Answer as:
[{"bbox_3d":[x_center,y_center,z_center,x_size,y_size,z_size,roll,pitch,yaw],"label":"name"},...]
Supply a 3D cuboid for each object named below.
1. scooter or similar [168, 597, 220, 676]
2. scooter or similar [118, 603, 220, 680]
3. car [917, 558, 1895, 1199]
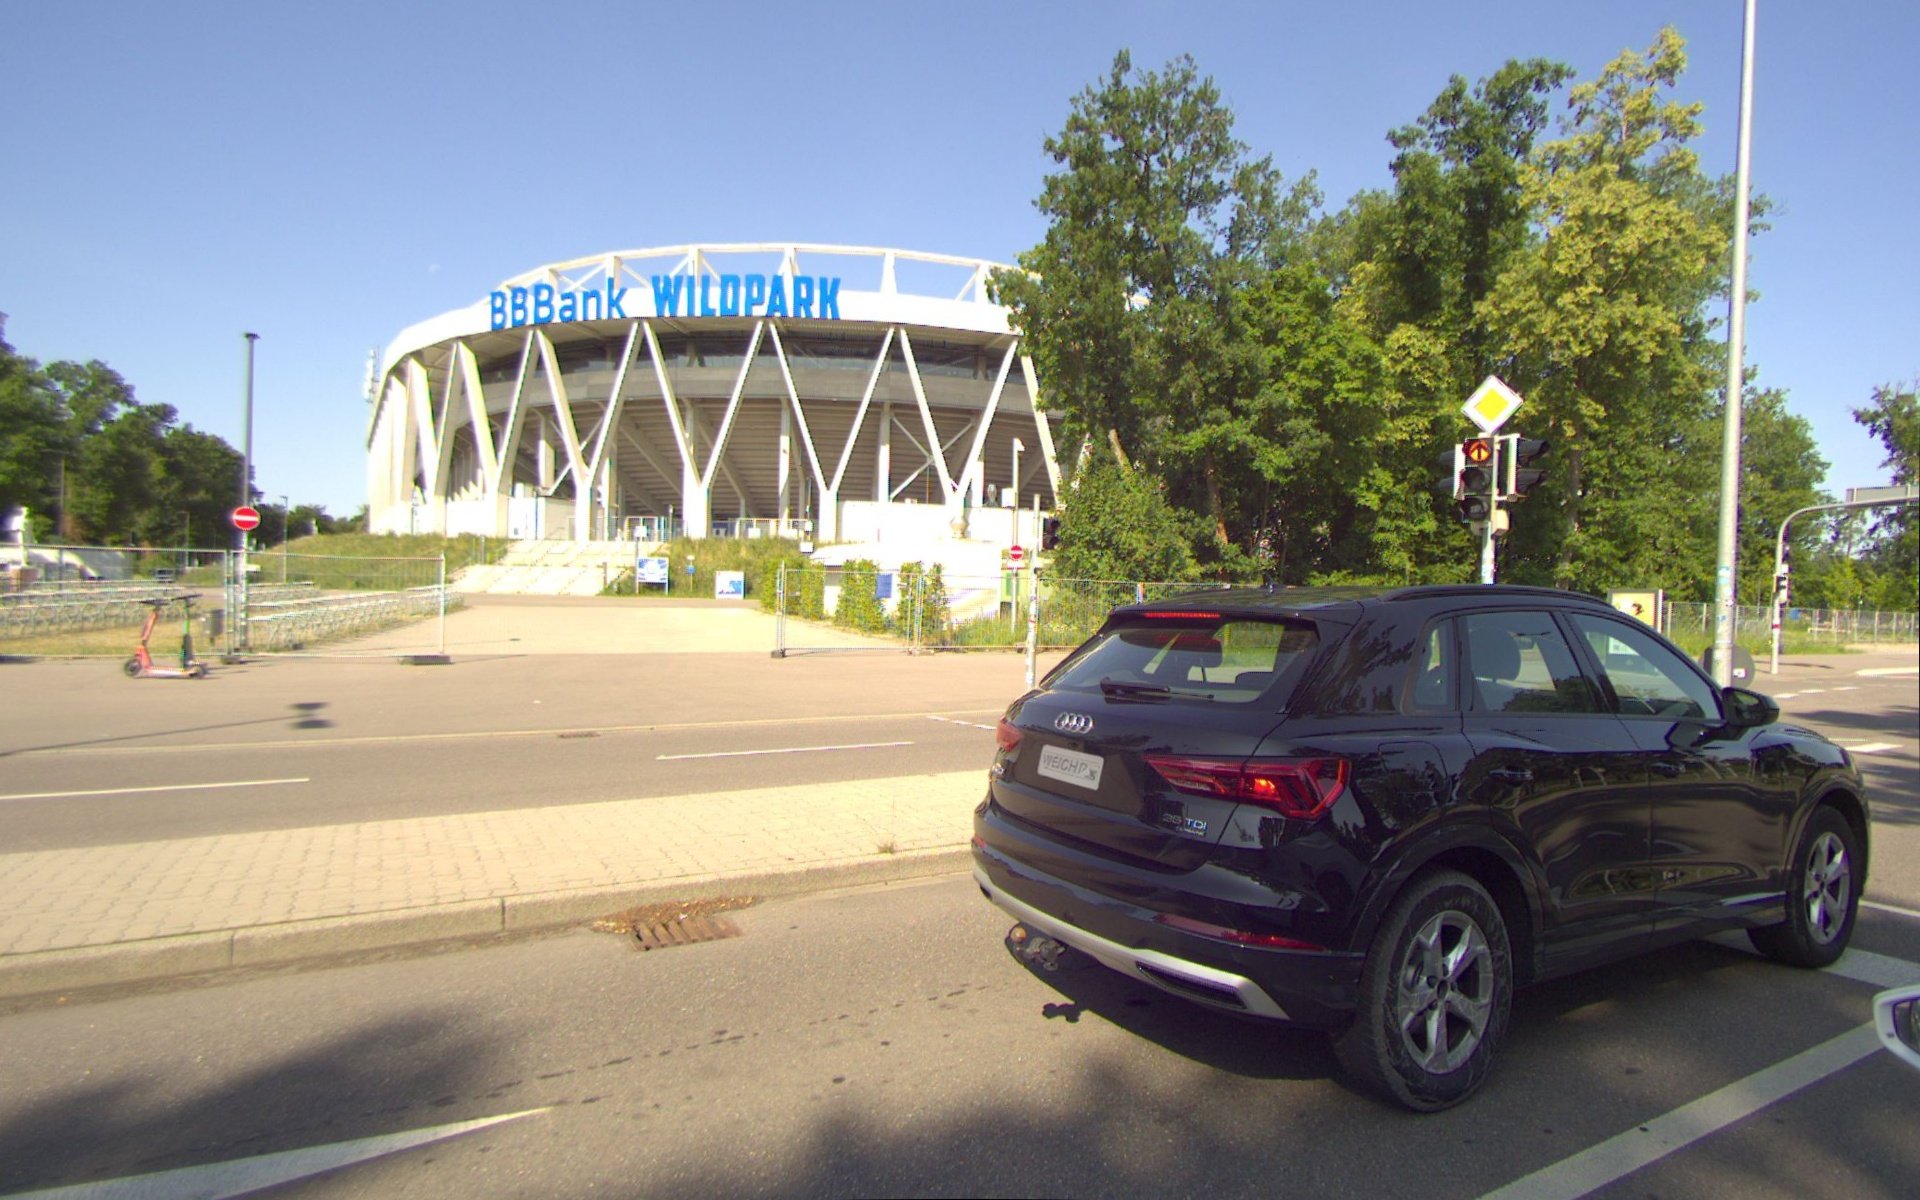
[{"bbox_3d":[-12.581,0.581,16.489,1.064,1.238,0.395,2,1,36],"label":"scooter or similar"},{"bbox_3d":[-12.320,0.643,15.675,1.180,1.161,0.393,1,1,-25],"label":"scooter or similar"},{"bbox_3d":[2.023,0.722,4.209,4.100,1.565,1.680,1,-1,-30],"label":"car"}]
